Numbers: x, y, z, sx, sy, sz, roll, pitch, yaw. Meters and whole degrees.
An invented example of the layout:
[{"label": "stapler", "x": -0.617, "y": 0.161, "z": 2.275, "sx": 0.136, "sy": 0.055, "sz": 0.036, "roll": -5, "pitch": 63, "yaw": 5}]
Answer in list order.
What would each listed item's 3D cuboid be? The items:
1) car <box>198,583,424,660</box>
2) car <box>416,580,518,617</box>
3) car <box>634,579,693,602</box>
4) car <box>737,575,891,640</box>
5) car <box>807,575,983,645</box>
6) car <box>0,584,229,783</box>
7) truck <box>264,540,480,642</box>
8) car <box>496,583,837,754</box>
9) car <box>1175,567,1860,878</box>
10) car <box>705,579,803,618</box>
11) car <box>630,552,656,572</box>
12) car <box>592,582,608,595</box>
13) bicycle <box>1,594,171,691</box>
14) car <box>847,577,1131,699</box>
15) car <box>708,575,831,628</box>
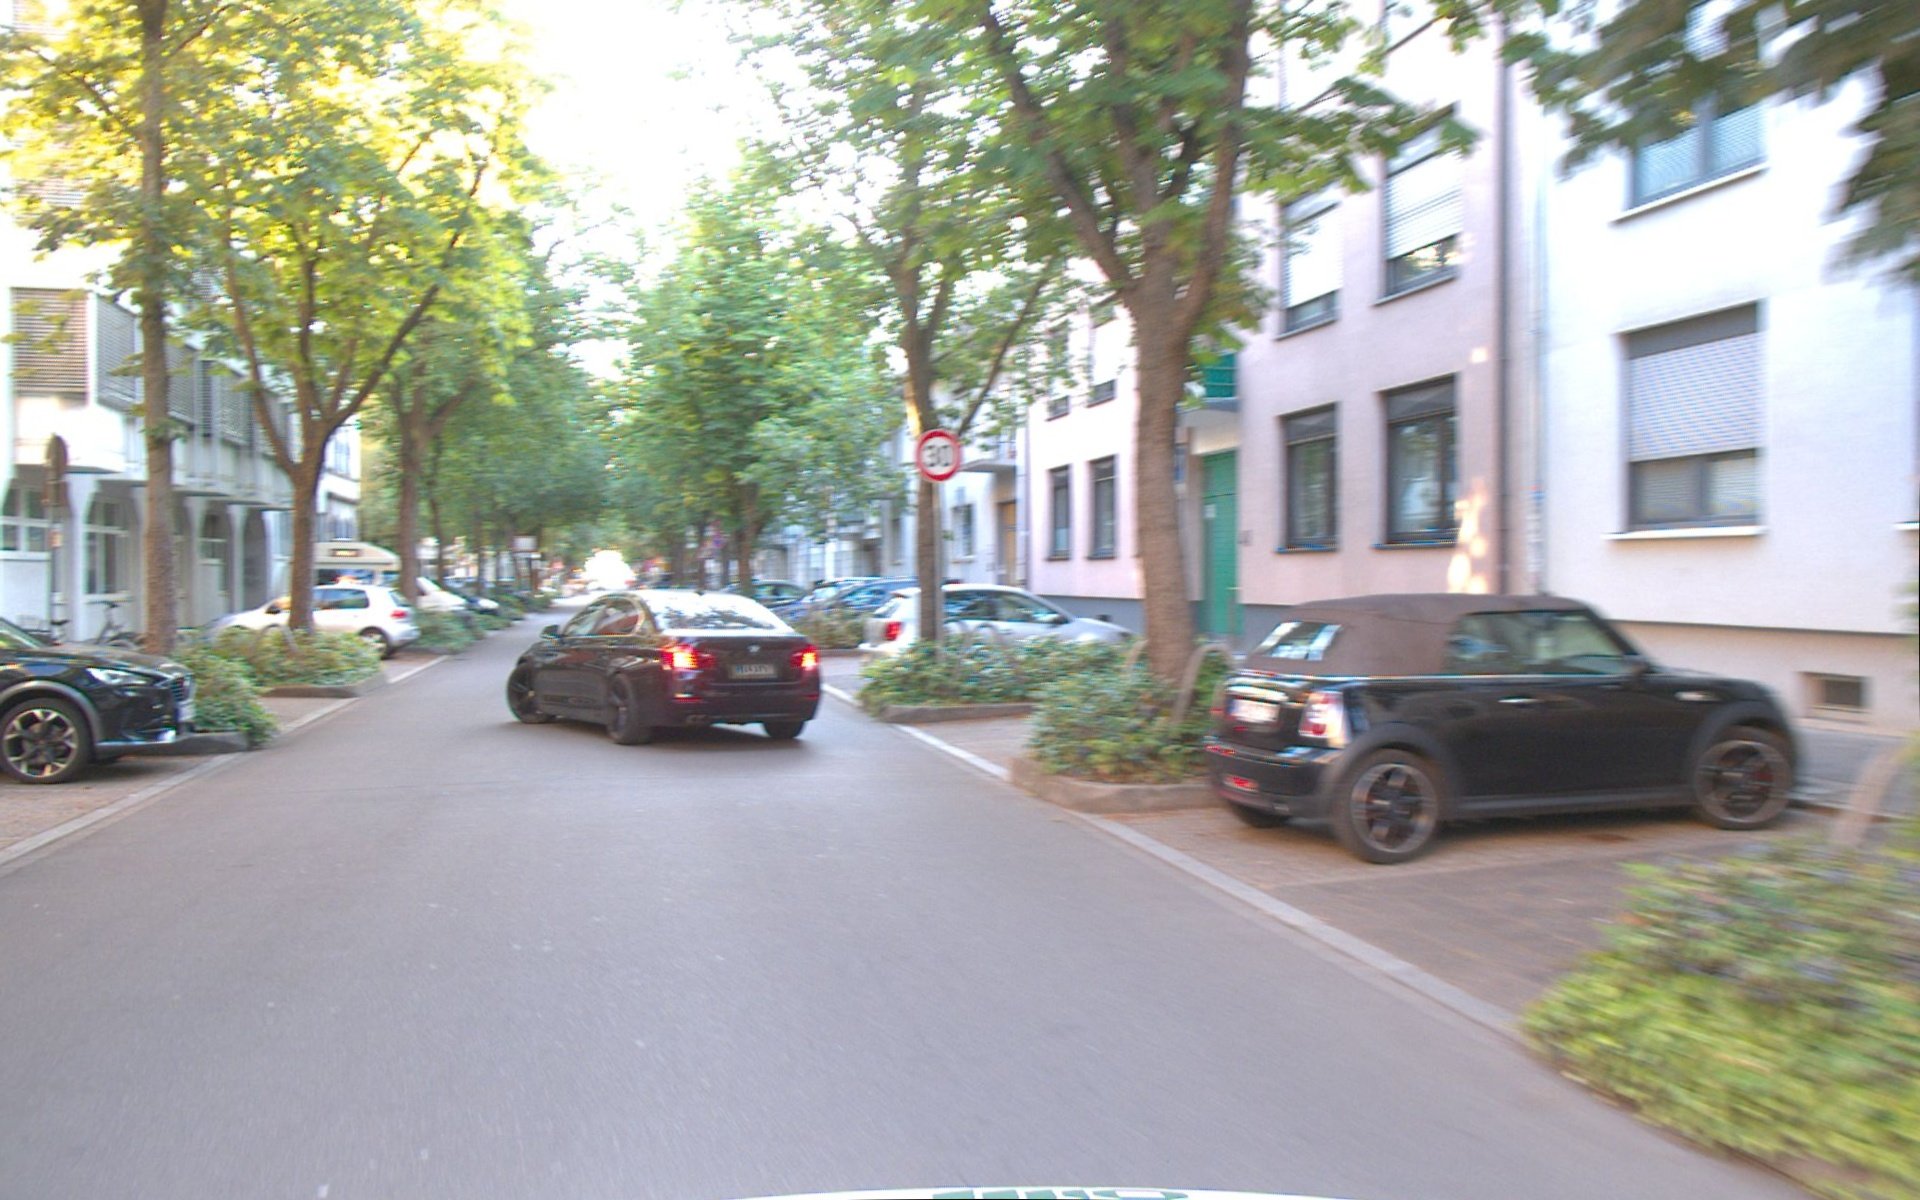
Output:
[{"label": "car", "x": -13.168, "y": 0.433, "z": 33.796, "sx": 4.060, "sy": 1.497, "sz": 1.635, "roll": 1, "pitch": 0, "yaw": -13}, {"label": "car", "x": -20.525, "y": -0.082, "z": 68.984, "sx": 3.952, "sy": 1.497, "sz": 1.635, "roll": 1, "pitch": 0, "yaw": -13}, {"label": "car", "x": -18.877, "y": -0.608, "z": 105.383, "sx": 3.595, "sy": 1.417, "sz": 1.560, "roll": -1, "pitch": 1, "yaw": -15}, {"label": "car", "x": -3.764, "y": 0.162, "z": 42.515, "sx": 3.729, "sy": 1.556, "sz": 1.560, "roll": -1, "pitch": 1, "yaw": -15}, {"label": "car", "x": -1.444, "y": 0.187, "z": 36.265, "sx": 3.595, "sy": 1.417, "sz": 1.560, "roll": -1, "pitch": 1, "yaw": -15}, {"label": "car", "x": -8.484, "y": 0.633, "z": 13.528, "sx": 4.281, "sy": 1.535, "sz": 1.829, "roll": 1, "pitch": 0, "yaw": -13}, {"label": "truck", "x": -14.846, "y": -0.248, "z": 42.014, "sx": 4.910, "sy": 2.483, "sz": 1.911, "roll": 1, "pitch": 1, "yaw": -12}, {"label": "car", "x": -3.129, "y": 0.571, "z": 16.791, "sx": 1.746, "sy": 1.475, "sz": 4.614, "roll": -1, "pitch": 1, "yaw": -33}, {"label": "car", "x": 3.319, "y": 0.620, "z": 9.976, "sx": 3.645, "sy": 1.452, "sz": 1.619, "roll": -3, "pitch": 1, "yaw": -18}, {"label": "car", "x": -7.922, "y": -0.068, "z": 63.600, "sx": 3.595, "sy": 1.417, "sz": 1.560, "roll": -1, "pitch": 1, "yaw": -15}, {"label": "car", "x": -25.897, "y": -3.090, "z": 135.190, "sx": 1.959, "sy": 1.579, "sz": 3.987, "roll": 0, "pitch": 1, "yaw": -13}, {"label": "car", "x": -44.281, "y": -1.421, "z": 203.304, "sx": 1.861, "sy": 1.500, "sz": 3.989, "roll": 0, "pitch": 1, "yaw": -12}, {"label": "bicycle", "x": -11.569, "y": 0.546, "z": 21.947, "sx": 1.943, "sy": 1.220, "sz": 0.498, "roll": -1, "pitch": 1, "yaw": -24}, {"label": "car", "x": 0.371, "y": 0.473, "z": 22.545, "sx": 3.595, "sy": 1.505, "sz": 1.560, "roll": -1, "pitch": 1, "yaw": -15}, {"label": "car", "x": -5.885, "y": 0.019, "z": 51.040, "sx": 3.595, "sy": 1.563, "sz": 1.560, "roll": -1, "pitch": 1, "yaw": -15}]
